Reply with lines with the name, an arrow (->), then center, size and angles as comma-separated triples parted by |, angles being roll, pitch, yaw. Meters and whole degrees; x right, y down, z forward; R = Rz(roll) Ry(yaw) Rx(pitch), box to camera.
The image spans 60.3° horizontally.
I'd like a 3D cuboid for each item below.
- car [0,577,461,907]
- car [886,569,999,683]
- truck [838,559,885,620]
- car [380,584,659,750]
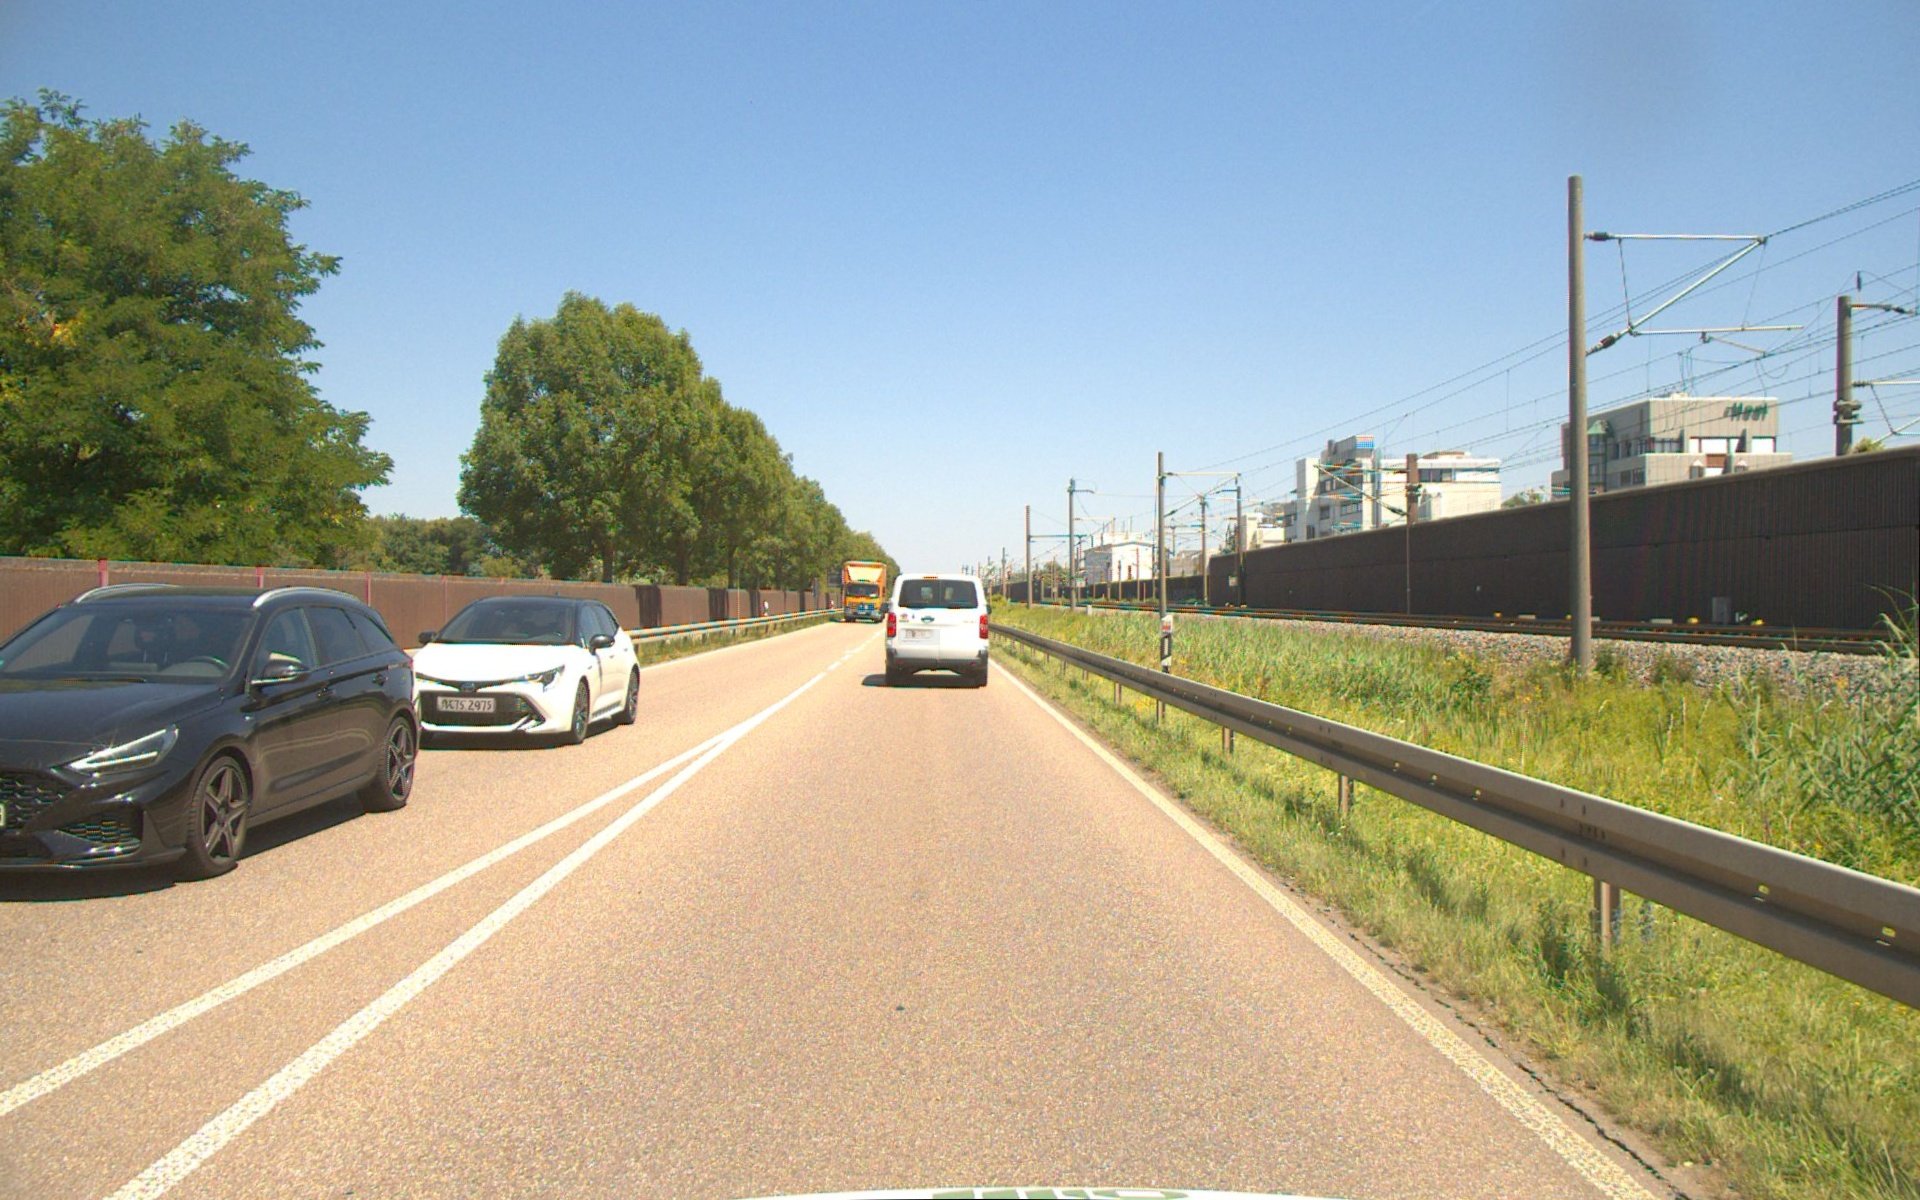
car -> -4.535, 0.634, 9.814 | 1.651, 1.485, 4.616 | 1, 0, 1
car -> -0.352, 0.455, 30.509 | 1.906, 1.914, 4.879 | 1, 0, -1
truck -> -6.494, -0.665, 110.462 | 2.735, 3.907, 9.321 | 1, 0, -1
car -> -4.456, 0.613, 17.472 | 1.651, 1.485, 4.616 | 1, 0, 0
